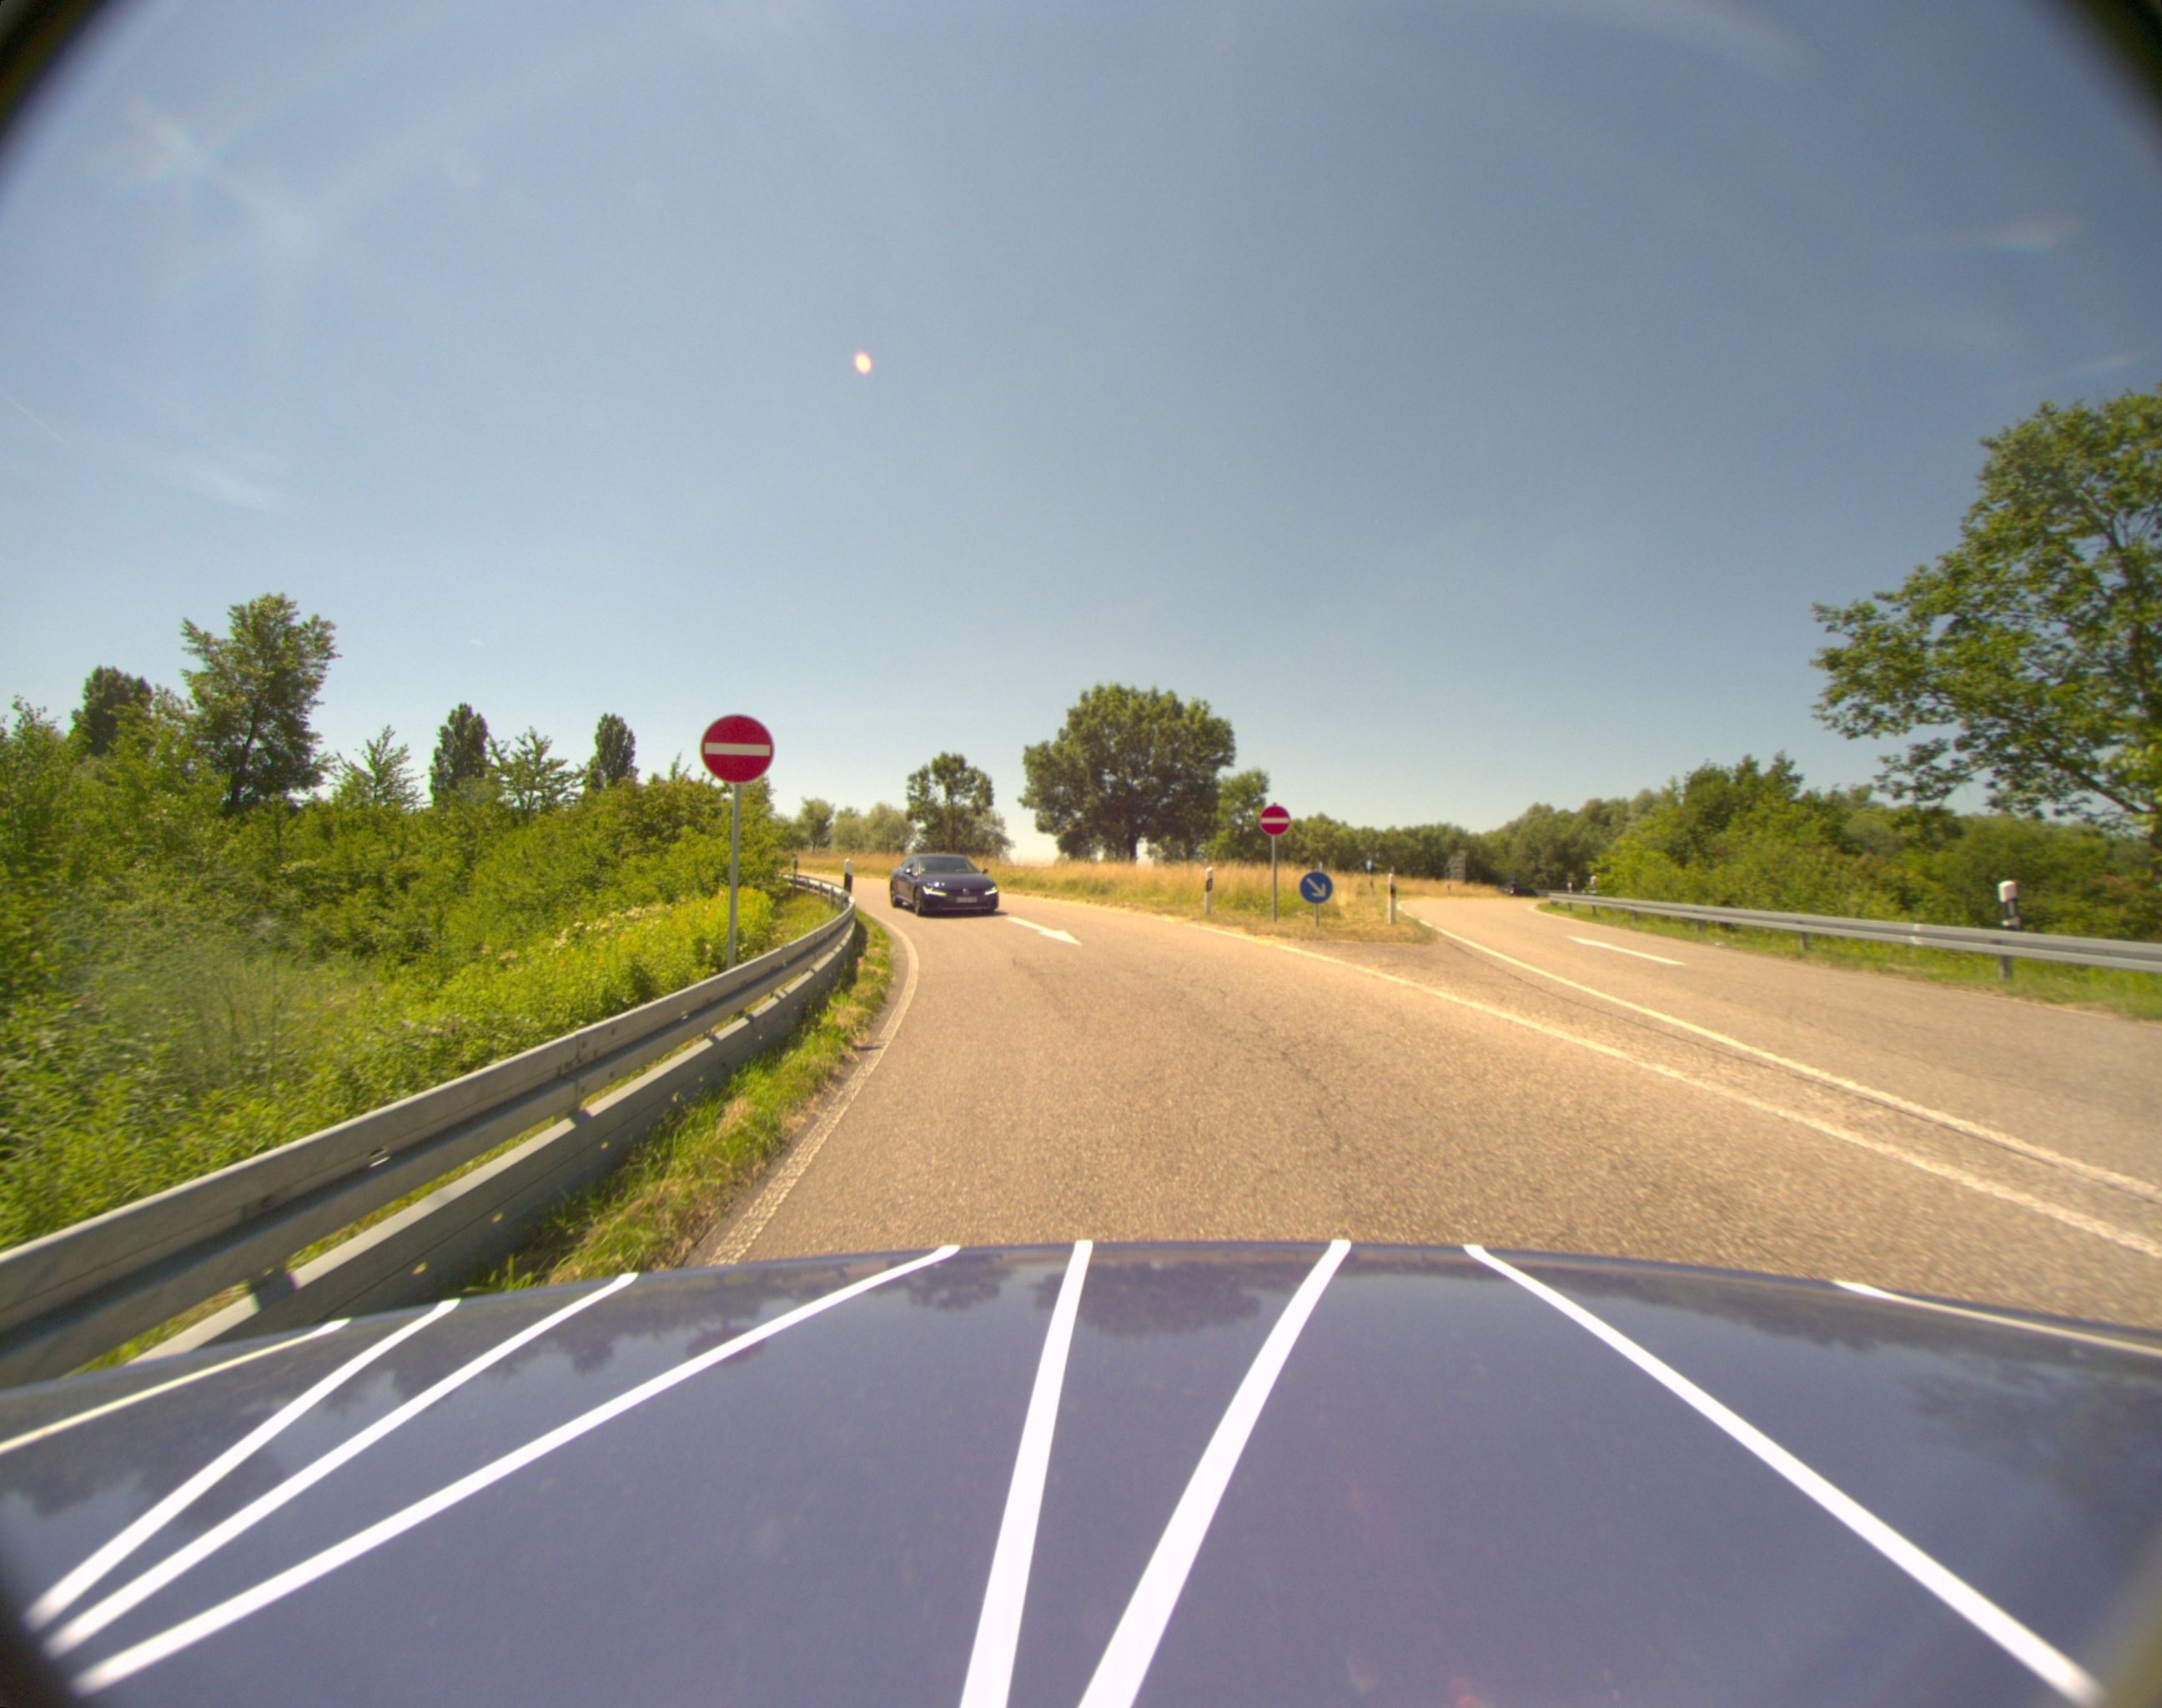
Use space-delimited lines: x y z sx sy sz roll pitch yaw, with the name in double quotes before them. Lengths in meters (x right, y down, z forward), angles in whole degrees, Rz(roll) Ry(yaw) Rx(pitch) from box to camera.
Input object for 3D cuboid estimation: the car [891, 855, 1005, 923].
"car" -3.427 0.760 18.796 1.846 1.422 4.524 -1 1 -22
